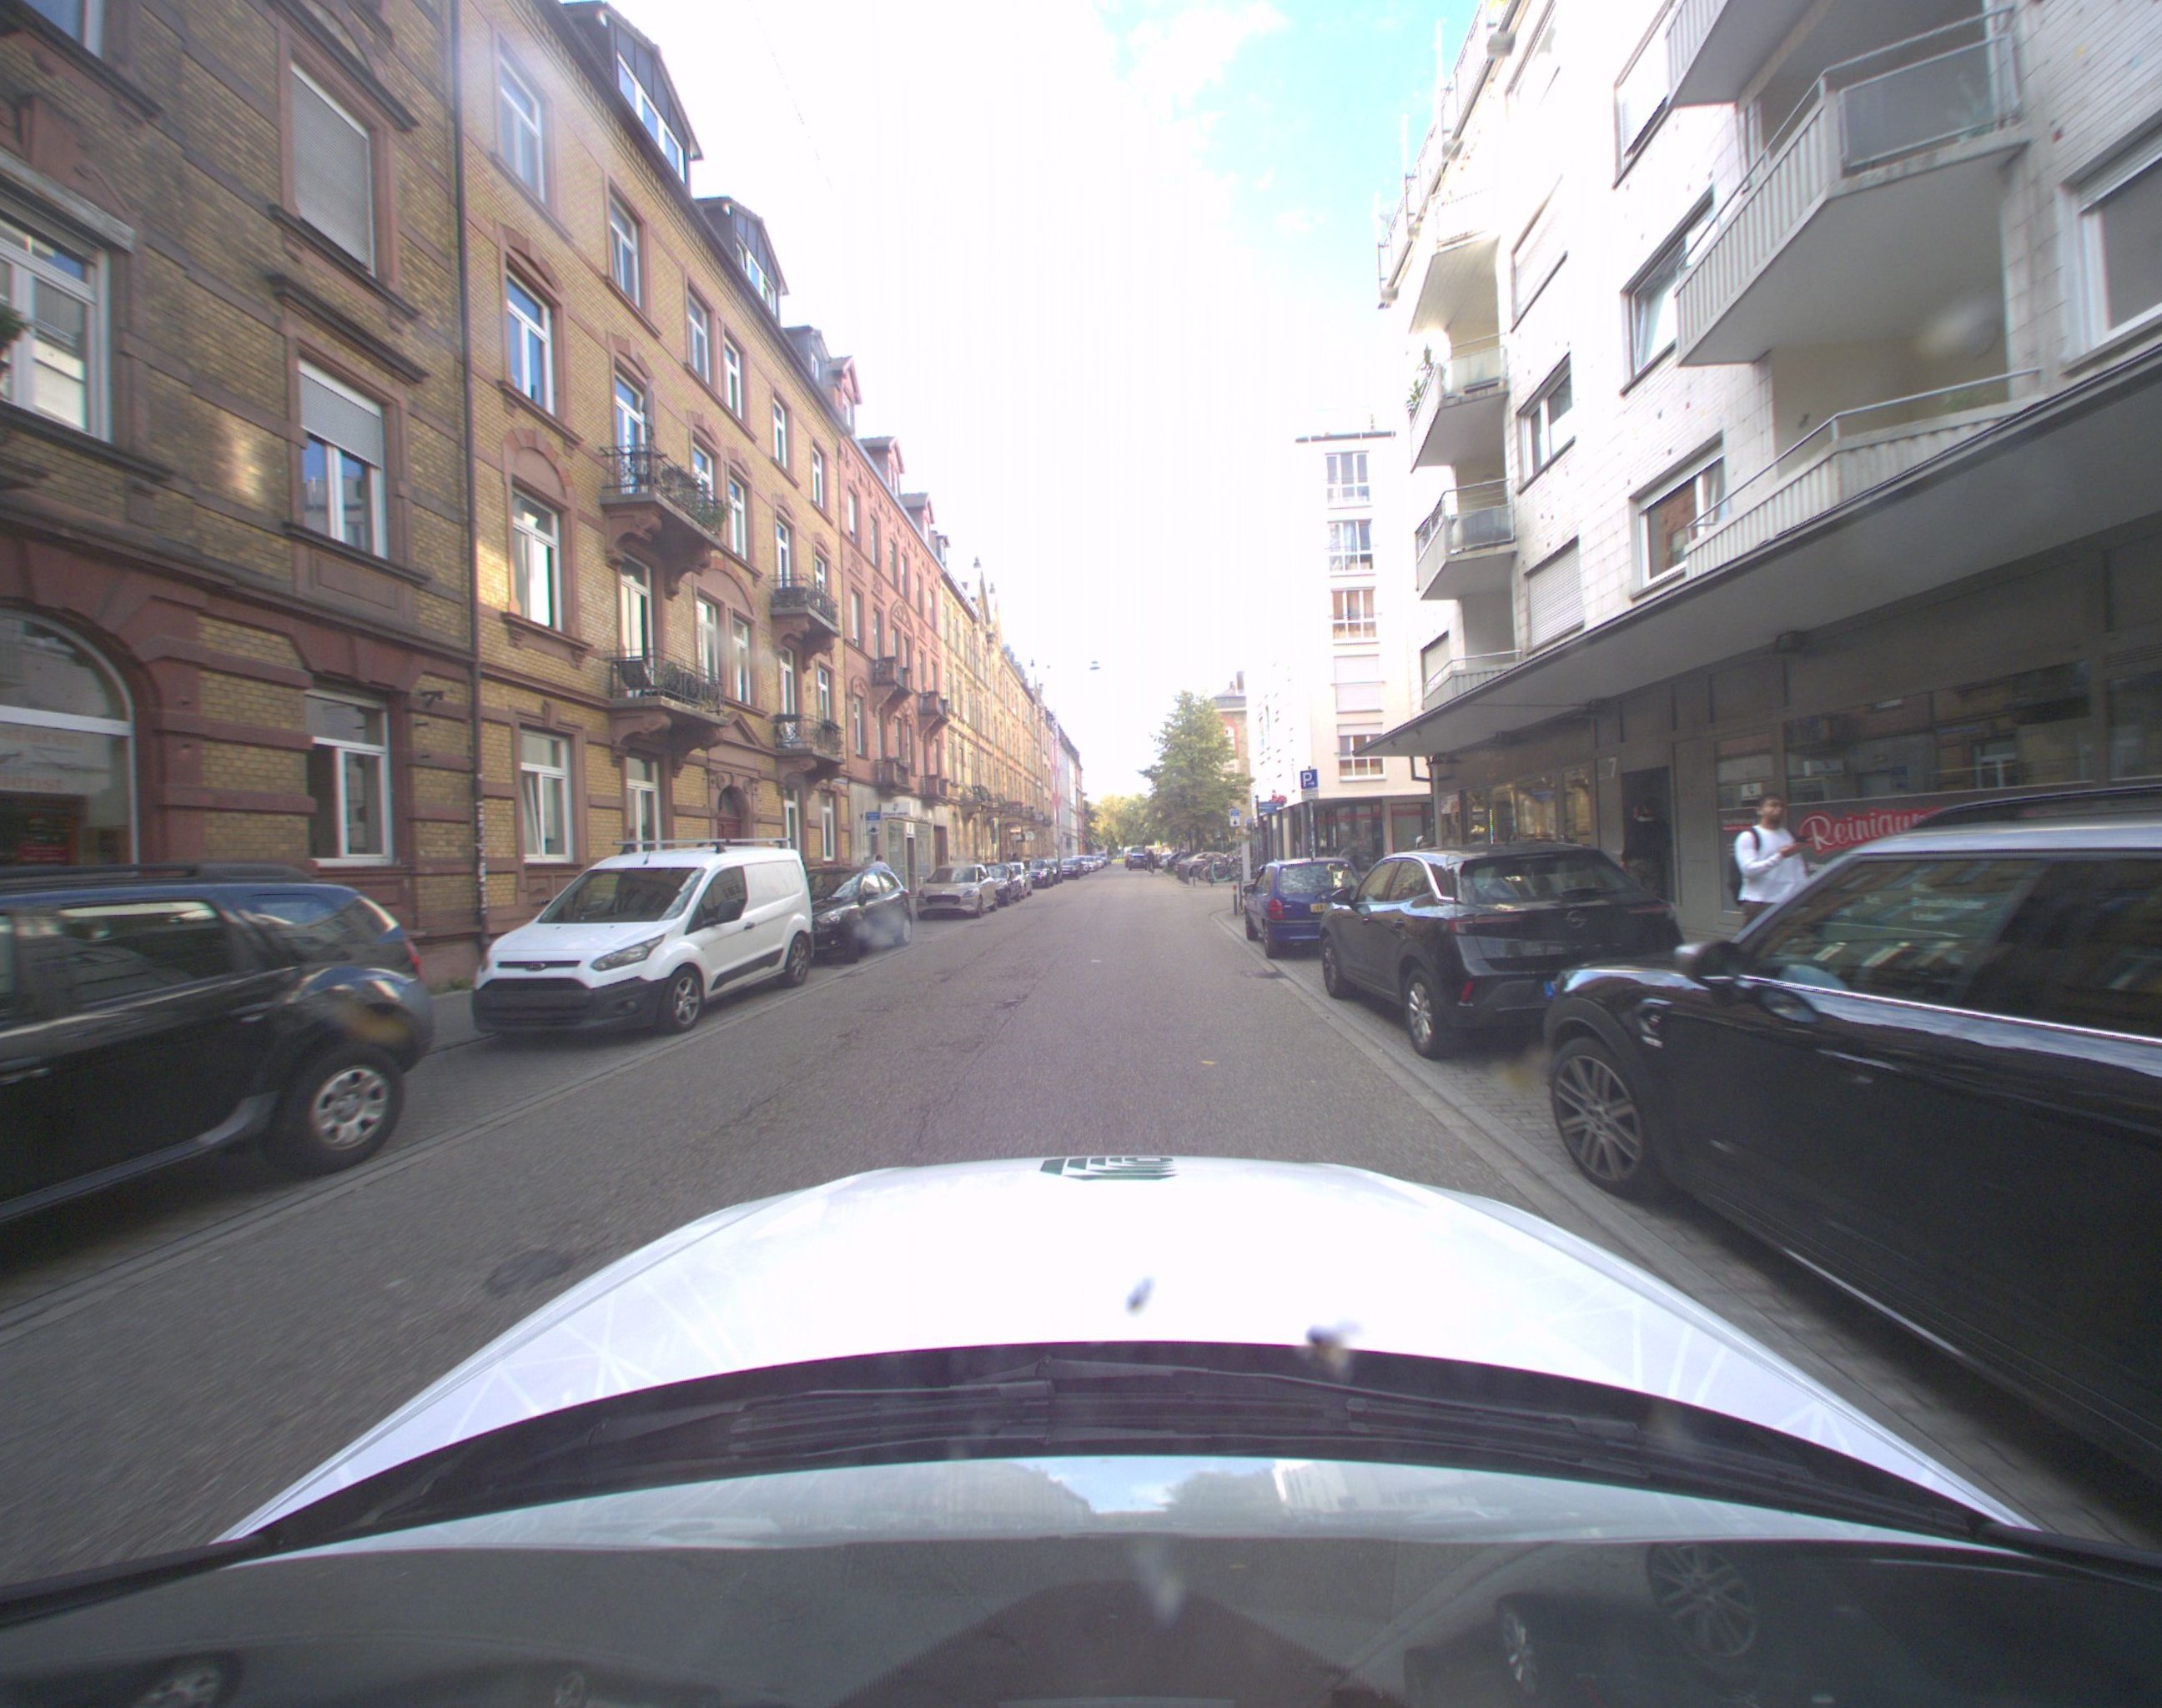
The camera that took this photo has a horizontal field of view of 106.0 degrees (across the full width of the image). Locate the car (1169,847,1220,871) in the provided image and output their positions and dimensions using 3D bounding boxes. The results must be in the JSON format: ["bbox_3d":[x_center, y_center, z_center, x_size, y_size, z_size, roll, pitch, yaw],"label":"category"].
[{"bbox_3d":[9.281,0.434,66.397,3.964,1.640,2.005,-4,0,9],"label":"car"}]

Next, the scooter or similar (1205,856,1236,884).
[{"bbox_3d":[6.202,0.712,36.156,1.193,1.147,0.381,-5,1,35],"label":"scooter or similar"}]

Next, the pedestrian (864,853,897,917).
[{"bbox_3d":[-5.684,0.868,23.140,0.729,1.790,0.771,1,0,-3],"label":"pedestrian"}]

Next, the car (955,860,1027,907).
[{"bbox_3d":[-3.067,0.972,28.469,1.733,1.483,3.988,-1,-1,4],"label":"car"}]

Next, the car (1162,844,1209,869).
[{"bbox_3d":[9.243,0.248,71.896,3.965,1.683,1.742,-4,7,8],"label":"car"}]

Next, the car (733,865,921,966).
[{"bbox_3d":[-4.185,0.947,14.147,1.733,1.483,3.988,-1,-1,4],"label":"car"}]

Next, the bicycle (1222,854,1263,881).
[{"bbox_3d":[7.390,0.626,37.341,1.756,1.087,0.651,-5,0,6],"label":"bicycle"}]

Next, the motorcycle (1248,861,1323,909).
[{"bbox_3d":[4.983,0.762,19.929,0.612,1.095,1.645,-3,-1,-43],"label":"motorcycle"}]

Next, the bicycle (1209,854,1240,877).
[{"bbox_3d":[8.249,0.667,46.890,1.656,1.159,0.558,-5,0,5],"label":"bicycle"}]

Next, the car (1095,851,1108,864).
[{"bbox_3d":[2.869,0.508,113.922,1.683,1.821,3.870,-1,0,3],"label":"car"}]

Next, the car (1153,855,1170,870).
[{"bbox_3d":[8.732,0.928,88.443,1.682,1.550,3.693,-1,0,5],"label":"car"}]

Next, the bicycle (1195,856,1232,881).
[{"bbox_3d":[6.862,0.735,42.323,1.785,1.159,0.501,-5,0,6],"label":"bicycle"}]

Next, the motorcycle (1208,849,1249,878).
[{"bbox_3d":[8.213,0.507,45.545,2.138,1.434,0.767,-5,0,8],"label":"motorcycle"}]

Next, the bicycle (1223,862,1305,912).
[{"bbox_3d":[4.286,0.779,19.170,0.688,1.095,1.748,-3,-1,-43],"label":"bicycle"}]

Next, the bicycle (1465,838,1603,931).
[{"bbox_3d":[7.221,0.447,13.173,0.914,1.291,2.502,-4,0,4],"label":"bicycle"}]

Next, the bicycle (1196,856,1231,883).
[{"bbox_3d":[6.216,0.706,38.140,1.491,1.146,0.411,-5,0,-2],"label":"bicycle"}]

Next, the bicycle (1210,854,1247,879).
[{"bbox_3d":[7.720,0.662,42.677,1.777,1.159,0.503,-4,0,30],"label":"bicycle"}]

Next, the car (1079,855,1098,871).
[{"bbox_3d":[0.763,0.892,82.134,1.683,1.550,3.870,-1,0,3],"label":"car"}]

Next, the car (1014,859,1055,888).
[{"bbox_3d":[-2.333,0.976,41.733,1.683,1.386,3.869,-1,0,2],"label":"car"}]

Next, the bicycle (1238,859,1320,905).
[{"bbox_3d":[5.079,0.740,20.994,0.694,1.095,1.939,-2,-2,-43],"label":"bicycle"}]

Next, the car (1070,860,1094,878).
[{"bbox_3d":[0.083,1.160,63.717,1.683,1.369,3.869,1,0,2],"label":"car"}]

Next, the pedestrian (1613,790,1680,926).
[{"bbox_3d":[8.026,0.059,11.586,0.700,1.860,0.649,-3,-1,33],"label":"pedestrian"}]

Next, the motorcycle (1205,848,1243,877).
[{"bbox_3d":[8.510,0.497,48.569,2.138,1.530,0.688,-5,0,8],"label":"motorcycle"}]

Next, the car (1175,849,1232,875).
[{"bbox_3d":[8.917,0.550,59.243,3.964,1.583,2.005,-4,0,9],"label":"car"}]

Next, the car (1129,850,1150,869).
[{"bbox_3d":[5.874,0.551,81.294,1.956,1.741,4.046,-2,-1,4],"label":"car"}]

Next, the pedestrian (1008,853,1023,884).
[{"bbox_3d":[-3.896,0.869,48.658,0.685,1.853,0.933,-1,0,5],"label":"pedestrian"}]

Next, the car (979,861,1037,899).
[{"bbox_3d":[-2.850,1.012,32.579,1.682,1.386,3.872,-1,0,4],"label":"car"}]

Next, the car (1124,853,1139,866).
[{"bbox_3d":[5.982,0.621,96.866,1.789,1.472,3.891,-1,0,3],"label":"car"}]

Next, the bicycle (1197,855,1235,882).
[{"bbox_3d":[6.521,0.686,39.293,1.769,1.146,0.409,-5,0,-17],"label":"bicycle"}]

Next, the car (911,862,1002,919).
[{"bbox_3d":[-3.500,0.991,23.595,1.733,1.483,3.988,-1,-1,4],"label":"car"}]

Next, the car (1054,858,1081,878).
[{"bbox_3d":[-0.927,0.984,57.777,1.683,1.369,3.869,1,0,2],"label":"car"}]

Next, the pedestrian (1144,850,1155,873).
[{"bbox_3d":[4.852,0.525,57.377,0.714,1.650,0.931,-1,0,5],"label":"pedestrian"}]

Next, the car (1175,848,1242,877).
[{"bbox_3d":[7.922,0.546,50.873,3.756,1.546,1.727,-4,-1,-7],"label":"car"}]

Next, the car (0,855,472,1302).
[{"bbox_3d":[-4.989,0.857,3.149,1.985,1.638,4.148,-1,0,3],"label":"car"}]

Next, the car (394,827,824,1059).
[{"bbox_3d":[-4.633,0.737,8.985,1.912,1.871,4.441,-2,0,3],"label":"car"}]

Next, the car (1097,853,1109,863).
[{"bbox_3d":[3.499,0.603,128.822,1.683,1.550,3.870,-1,0,3],"label":"car"}]

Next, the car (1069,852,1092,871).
[{"bbox_3d":[-0.034,0.658,70.274,1.682,1.550,3.871,-2,-1,4],"label":"car"}]

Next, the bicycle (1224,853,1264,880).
[{"bbox_3d":[7.743,0.579,38.646,1.761,1.146,0.411,-5,0,-2],"label":"bicycle"}]

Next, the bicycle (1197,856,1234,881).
[{"bbox_3d":[6.824,0.739,41.388,1.756,1.118,0.412,-5,0,6],"label":"bicycle"}]

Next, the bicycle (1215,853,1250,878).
[{"bbox_3d":[8.134,0.611,43.649,1.724,1.159,0.501,-5,0,5],"label":"bicycle"}]

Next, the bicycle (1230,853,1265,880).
[{"bbox_3d":[7.784,0.574,38.103,1.488,1.146,0.412,-5,0,4],"label":"bicycle"}]

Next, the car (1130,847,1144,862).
[{"bbox_3d":[7.565,0.070,109.964,1.774,2.020,3.891,-1,0,3],"label":"car"}]

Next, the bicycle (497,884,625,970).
[{"bbox_3d":[-7.891,1.064,12.478,0.565,1.151,2.003,0,0,4],"label":"bicycle"}]

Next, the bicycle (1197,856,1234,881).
[{"bbox_3d":[6.710,0.744,40.648,1.756,1.099,0.412,-5,0,6],"label":"bicycle"}]

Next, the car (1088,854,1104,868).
[{"bbox_3d":[1.852,0.823,97.404,1.683,1.550,3.870,-1,0,3],"label":"car"}]

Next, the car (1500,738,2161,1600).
[{"bbox_3d":[2.917,0.547,2.122,1.784,1.605,3.928,-3,0,4],"label":"car"}]

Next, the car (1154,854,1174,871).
[{"bbox_3d":[8.517,0.854,83.940,1.921,1.638,4.005,-1,0,4],"label":"car"}]

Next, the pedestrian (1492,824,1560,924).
[{"bbox_3d":[7.411,0.323,13.605,0.640,1.588,0.782,-4,-1,6],"label":"pedestrian"}]

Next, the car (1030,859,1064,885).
[{"bbox_3d":[-1.951,1.017,47.657,1.683,1.437,3.869,-1,0,2],"label":"car"}]

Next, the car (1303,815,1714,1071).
[{"bbox_3d":[3.291,0.590,7.225,1.681,1.577,3.905,-3,0,3],"label":"car"}]

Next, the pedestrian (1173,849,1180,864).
[{"bbox_3d":[14.744,0.344,126.297,0.991,2.230,0.900,-1,0,5],"label":"pedestrian"}]

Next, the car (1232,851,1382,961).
[{"bbox_3d":[3.474,0.714,13.202,1.588,1.439,4.036,-3,0,5],"label":"car"}]

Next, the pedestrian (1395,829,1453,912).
[{"bbox_3d":[6.886,0.324,16.374,0.820,1.588,0.782,-3,-1,5],"label":"pedestrian"}]

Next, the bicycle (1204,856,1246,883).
[{"bbox_3d":[6.506,0.694,36.751,1.760,1.056,0.411,-5,0,-2],"label":"bicycle"}]

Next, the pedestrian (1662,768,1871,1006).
[{"bbox_3d":[5.518,0.242,6.638,0.610,1.726,1.126,-5,0,-2],"label":"pedestrian"}]

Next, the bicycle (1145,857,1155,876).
[{"bbox_3d":[4.845,0.870,57.256,0.714,1.274,1.886,-1,0,5],"label":"bicycle"}]

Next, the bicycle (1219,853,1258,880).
[{"bbox_3d":[7.558,0.598,39.162,1.769,1.146,0.409,-5,0,-17],"label":"bicycle"}]

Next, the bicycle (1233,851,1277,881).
[{"bbox_3d":[7.742,0.538,36.270,1.756,1.162,0.651,-5,0,6],"label":"bicycle"}]
